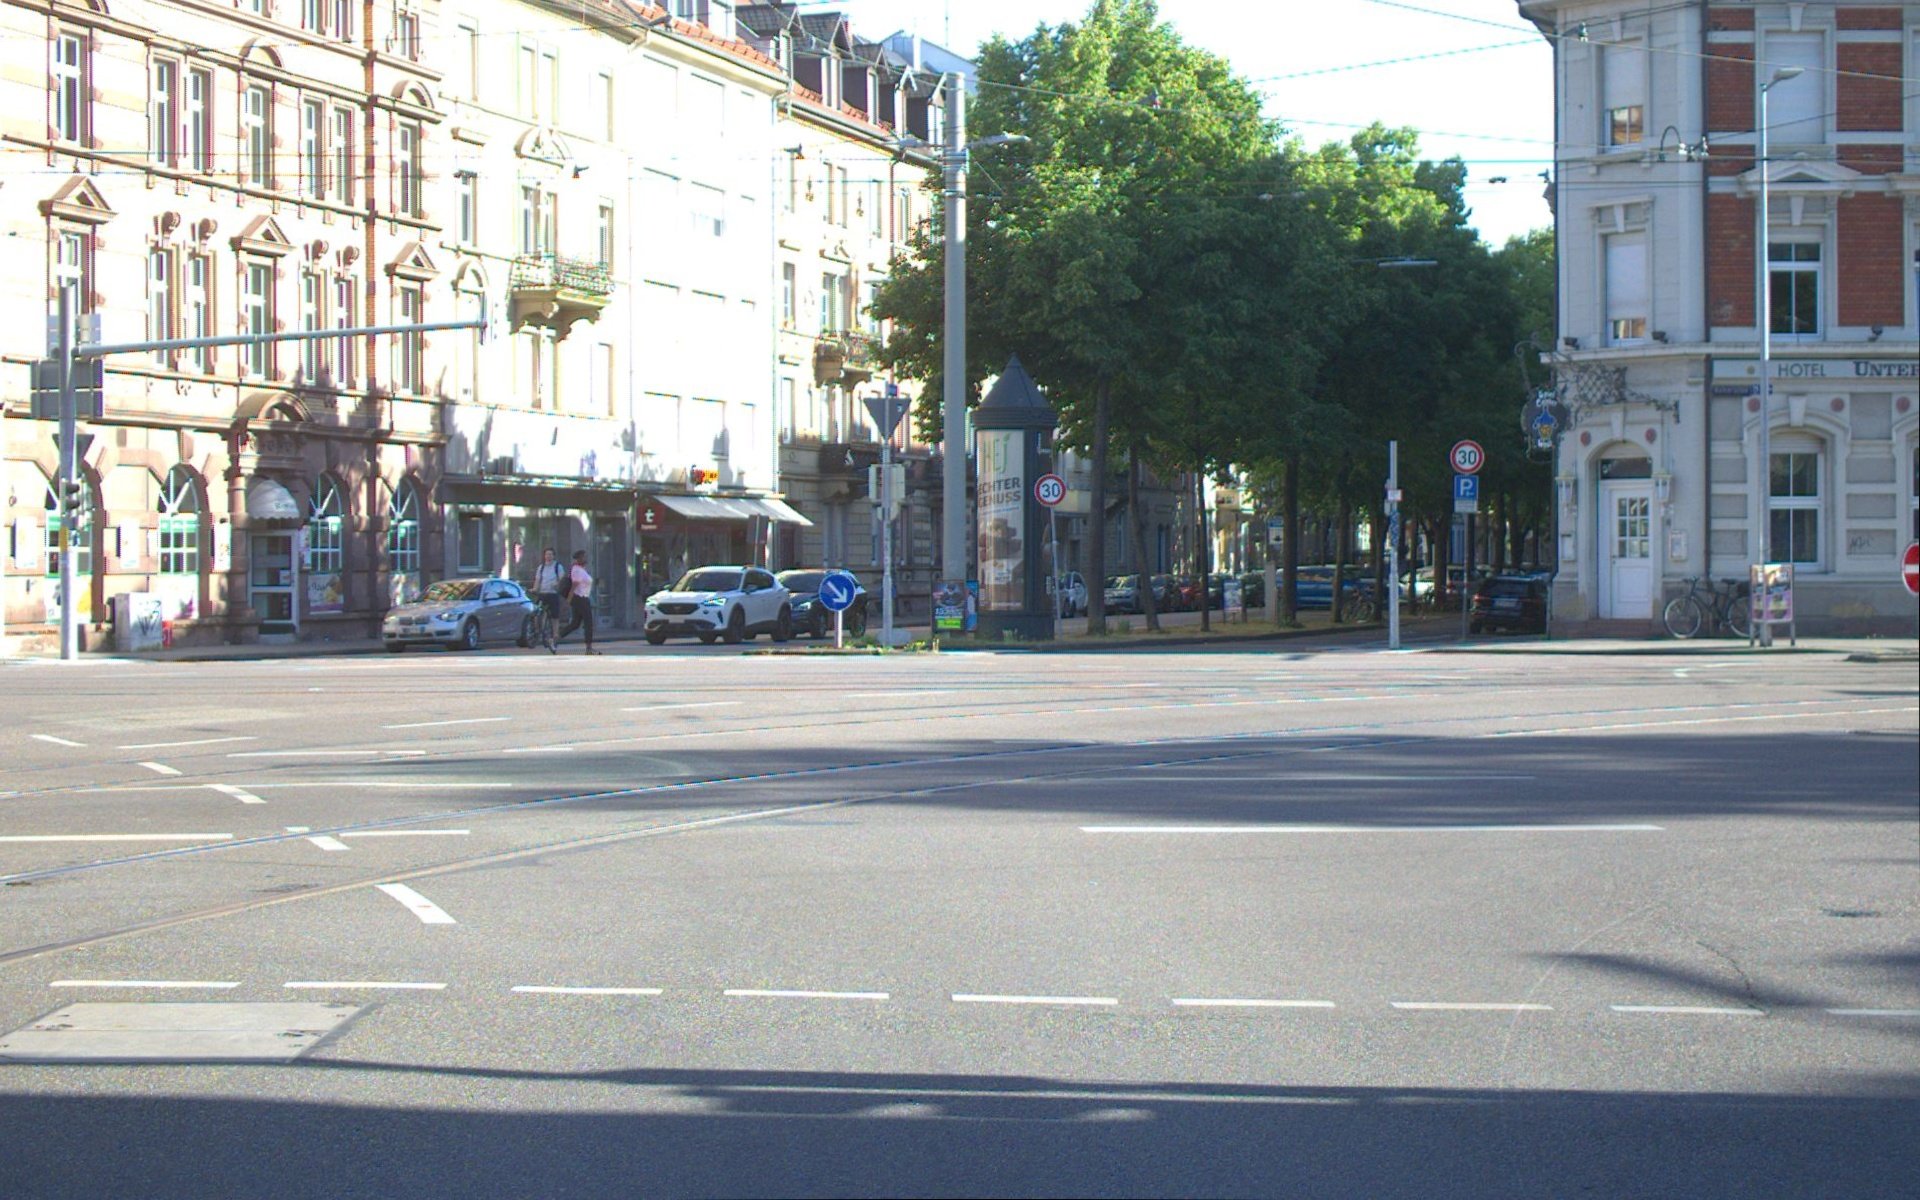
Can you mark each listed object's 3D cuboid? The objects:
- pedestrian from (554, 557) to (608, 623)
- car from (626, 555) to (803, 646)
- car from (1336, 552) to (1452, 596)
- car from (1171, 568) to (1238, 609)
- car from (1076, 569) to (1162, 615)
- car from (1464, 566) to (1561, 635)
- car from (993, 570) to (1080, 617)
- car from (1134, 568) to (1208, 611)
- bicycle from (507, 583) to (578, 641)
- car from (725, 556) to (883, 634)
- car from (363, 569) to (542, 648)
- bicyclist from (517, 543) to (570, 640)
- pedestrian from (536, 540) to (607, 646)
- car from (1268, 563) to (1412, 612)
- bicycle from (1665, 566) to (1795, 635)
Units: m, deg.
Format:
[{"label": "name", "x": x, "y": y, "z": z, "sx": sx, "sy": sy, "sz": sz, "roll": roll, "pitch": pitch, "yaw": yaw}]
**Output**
[{"label": "pedestrian", "x": -8.946, "y": -0.237, "z": 81.180, "sx": 0.929, "sy": 1.530, "sz": 1.136, "roll": 0, "pitch": 1, "yaw": 14}, {"label": "car", "x": -4.763, "y": -0.017, "z": 67.334, "sx": 1.995, "sy": 1.678, "sz": 4.387, "roll": 0, "pitch": 1, "yaw": 17}, {"label": "car", "x": 16.863, "y": -1.015, "z": 133.633, "sx": 3.993, "sy": 1.700, "sz": 1.997, "roll": 0, "pitch": 1, "yaw": 30}, {"label": "car", "x": 9.701, "y": -0.468, "z": 136.340, "sx": 1.766, "sy": 1.544, "sz": 4.387, "roll": 0, "pitch": 1, "yaw": 16}, {"label": "car", "x": 5.708, "y": -0.299, "z": 122.673, "sx": 1.995, "sy": 1.607, "sz": 4.387, "roll": 0, "pitch": 1, "yaw": 17}, {"label": "car", "x": 13.270, "y": -0.012, "z": 82.450, "sx": 1.995, "sy": 1.579, "sz": 3.998, "roll": 0, "pitch": 1, "yaw": 14}, {"label": "car", "x": 2.488, "y": -0.222, "z": 110.972, "sx": 1.995, "sy": 1.481, "sz": 3.998, "roll": 0, "pitch": 1, "yaw": 14}, {"label": "car", "x": 8.035, "y": -0.418, "z": 130.463, "sx": 1.839, "sy": 1.547, "sz": 4.387, "roll": 0, "pitch": 1, "yaw": 17}, {"label": "bicycle", "x": -7.887, "y": 0.218, "z": 65.020, "sx": 0.680, "sy": 1.062, "sz": 2.124, "roll": 0, "pitch": 1, "yaw": 12}, {"label": "car", "x": -3.317, "y": -0.135, "z": 73.847, "sx": 1.995, "sy": 1.606, "sz": 4.387, "roll": 0, "pitch": 1, "yaw": 17}, {"label": "car", "x": -9.851, "y": 0.150, "z": 67.059, "sx": 1.900, "sy": 1.450, "sz": 3.997, "roll": 0, "pitch": 1, "yaw": 17}, {"label": "bicyclist", "x": -7.877, "y": -0.162, "z": 65.056, "sx": 0.679, "sy": 1.814, "sz": 1.070, "roll": 0, "pitch": 1, "yaw": 12}, {"label": "pedestrian", "x": -6.497, "y": -0.124, "z": 57.470, "sx": 1.046, "sy": 1.738, "sz": 0.809, "roll": 0, "pitch": 1, "yaw": -16}, {"label": "car", "x": 12.776, "y": -0.442, "z": 115.482, "sx": 4.382, "sy": 1.606, "sz": 1.997, "roll": 0, "pitch": 1, "yaw": 27}, {"label": "bicycle", "x": 12.858, "y": 0.008, "z": 57.398, "sx": 2.085, "sy": 1.120, "sz": 0.367, "roll": 1, "pitch": 0, "yaw": -4}]
